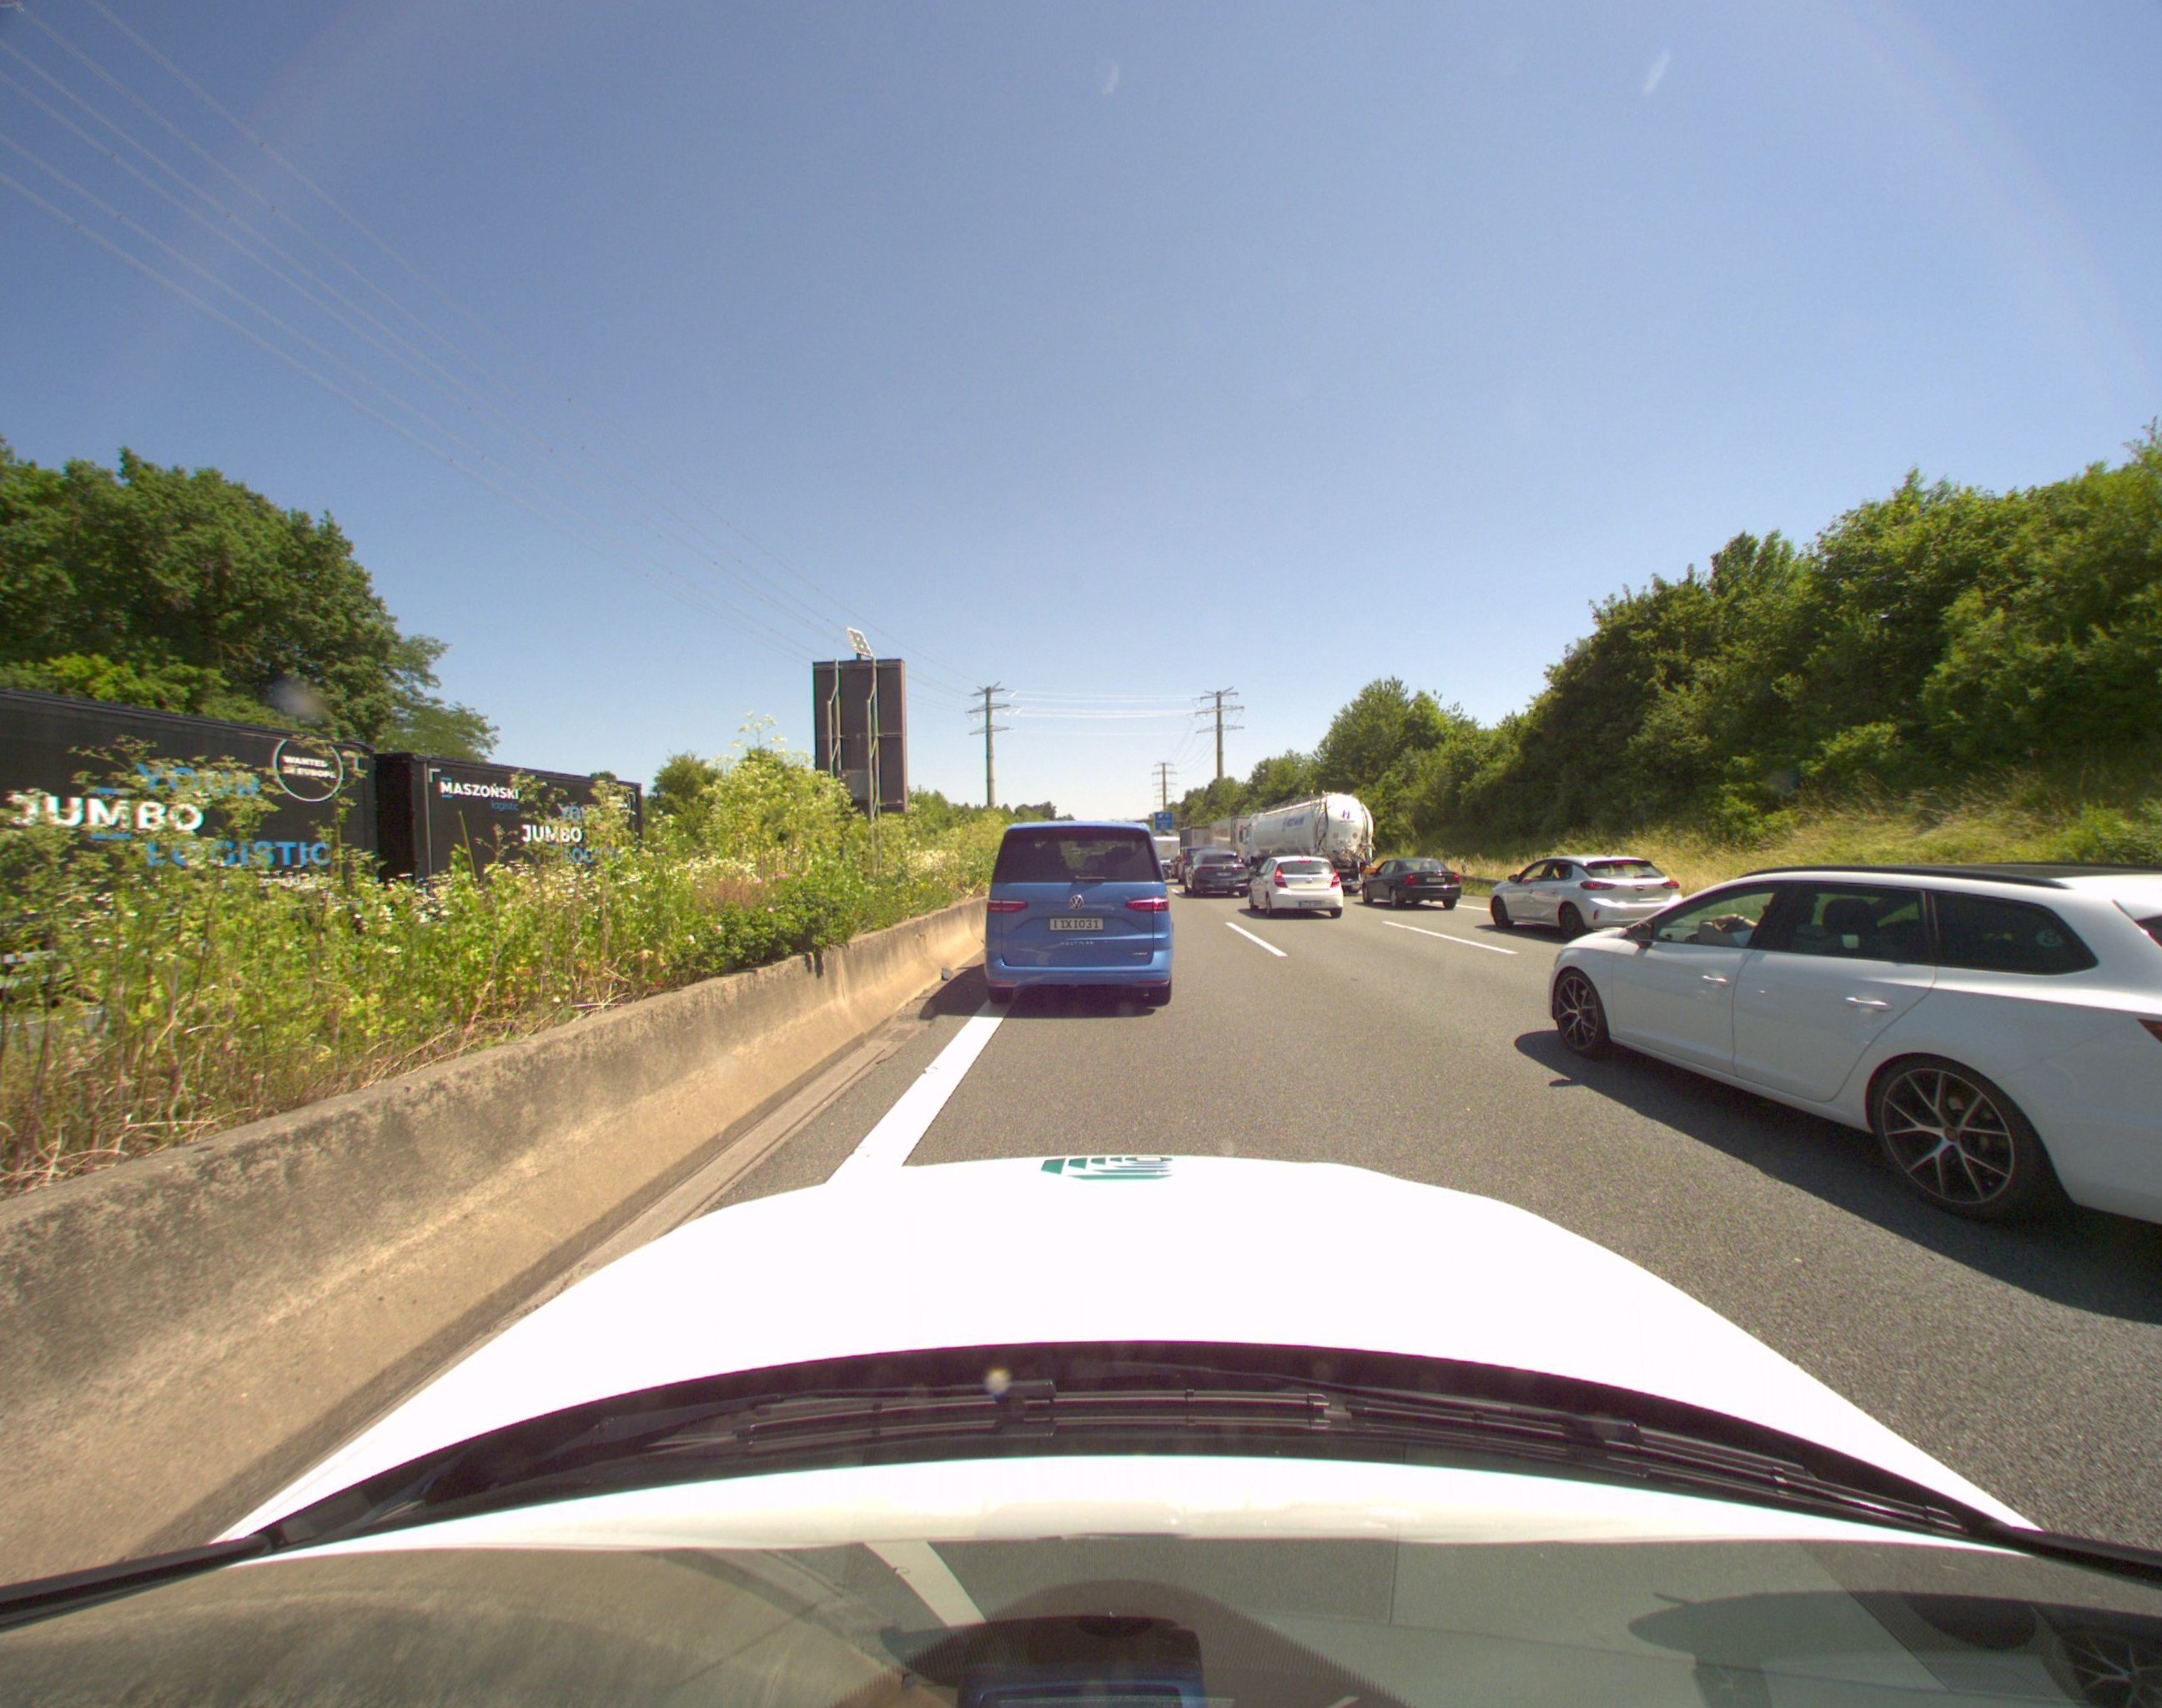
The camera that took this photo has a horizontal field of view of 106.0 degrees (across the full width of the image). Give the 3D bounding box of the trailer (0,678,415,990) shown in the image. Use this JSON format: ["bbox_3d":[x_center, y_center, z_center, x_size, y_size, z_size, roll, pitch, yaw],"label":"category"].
[{"bbox_3d":[-14.492,-0.203,11.711,3.113,3.759,7.872,-1,0,2],"label":"trailer"}]

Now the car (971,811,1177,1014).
[{"bbox_3d":[0.015,0.541,9.570,1.912,1.886,4.002,0,0,2],"label":"car"}]

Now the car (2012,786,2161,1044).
[{"bbox_3d":[9.002,0.410,4.649,1.906,1.940,4.859,-2,-1,3],"label":"car"}]

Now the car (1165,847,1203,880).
[{"bbox_3d":[6.516,0.613,52.043,1.916,1.925,4.236,-2,-1,1],"label":"car"}]

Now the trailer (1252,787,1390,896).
[{"bbox_3d":[9.819,-0.427,34.974,2.751,3.845,11.490,-2,0,2],"label":"trailer"}]

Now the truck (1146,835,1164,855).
[{"bbox_3d":[17.540,-2.142,194.323,3.553,4.517,10.297,-1,-1,2],"label":"truck"}]

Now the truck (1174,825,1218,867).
[{"bbox_3d":[11.592,-0.673,83.648,2.993,3.766,15.724,-1,-1,3],"label":"truck"}]

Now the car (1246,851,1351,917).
[{"bbox_3d":[5.420,0.727,20.794,1.809,1.485,4.003,-2,-1,3],"label":"car"}]

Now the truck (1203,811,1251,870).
[{"bbox_3d":[11.619,-0.997,65.156,2.901,4.469,5.144,-2,0,2],"label":"truck"}]

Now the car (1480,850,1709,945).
[{"bbox_3d":[9.082,0.679,14.862,1.724,1.443,4.030,-2,0,2],"label":"car"}]

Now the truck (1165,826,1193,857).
[{"bbox_3d":[12.963,-1.509,108.658,2.883,3.766,13.354,-1,-1,3],"label":"truck"}]

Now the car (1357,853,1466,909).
[{"bbox_3d":[9.378,0.738,23.432,1.634,1.416,3.991,-2,-1,3],"label":"car"}]

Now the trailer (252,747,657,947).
[{"bbox_3d":[-14.207,-0.119,19.772,3.170,3.762,8.204,-2,0,2],"label":"trailer"}]

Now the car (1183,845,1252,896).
[{"bbox_3d":[5.026,0.620,30.601,1.991,1.715,4.628,-2,-1,3],"label":"car"}]

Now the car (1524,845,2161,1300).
[{"bbox_3d":[4.408,0.711,4.477,1.740,1.443,4.316,-2,-1,3],"label":"car"}]

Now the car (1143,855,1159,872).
[{"bbox_3d":[8.573,1.138,100.586,1.828,1.998,4.004,-2,-1,4],"label":"car"}]

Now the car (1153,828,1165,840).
[{"bbox_3d":[14.524,-3.702,150.916,1.985,2.014,4.002,-1,-1,2],"label":"car"}]

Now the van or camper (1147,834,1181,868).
[{"bbox_3d":[7.830,-0.223,77.445,2.944,3.022,7.109,-1,-1,4],"label":"van or camper"}]

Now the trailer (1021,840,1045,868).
[{"bbox_3d":[-9.081,0.013,154.847,3.309,5.047,9.597,-1,-1,3],"label":"trailer"}]

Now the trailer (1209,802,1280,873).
[{"bbox_3d":[11.399,-0.999,58.129,2.901,4.469,12.158,-2,0,2],"label":"trailer"}]

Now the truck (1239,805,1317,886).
[{"bbox_3d":[10.094,-0.392,42.358,2.782,3.836,5.574,-2,0,2],"label":"truck"}]

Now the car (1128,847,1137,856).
[{"bbox_3d":[12.467,-0.514,195.909,1.986,2.126,4.001,-1,-1,2],"label":"car"}]

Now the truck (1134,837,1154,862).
[{"bbox_3d":[10.062,-0.669,131.230,2.883,3.766,10.148,-1,-1,3],"label":"truck"}]

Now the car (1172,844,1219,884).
[{"bbox_3d":[5.955,0.526,42.779,1.916,1.925,4.236,-2,-1,1],"label":"car"}]
